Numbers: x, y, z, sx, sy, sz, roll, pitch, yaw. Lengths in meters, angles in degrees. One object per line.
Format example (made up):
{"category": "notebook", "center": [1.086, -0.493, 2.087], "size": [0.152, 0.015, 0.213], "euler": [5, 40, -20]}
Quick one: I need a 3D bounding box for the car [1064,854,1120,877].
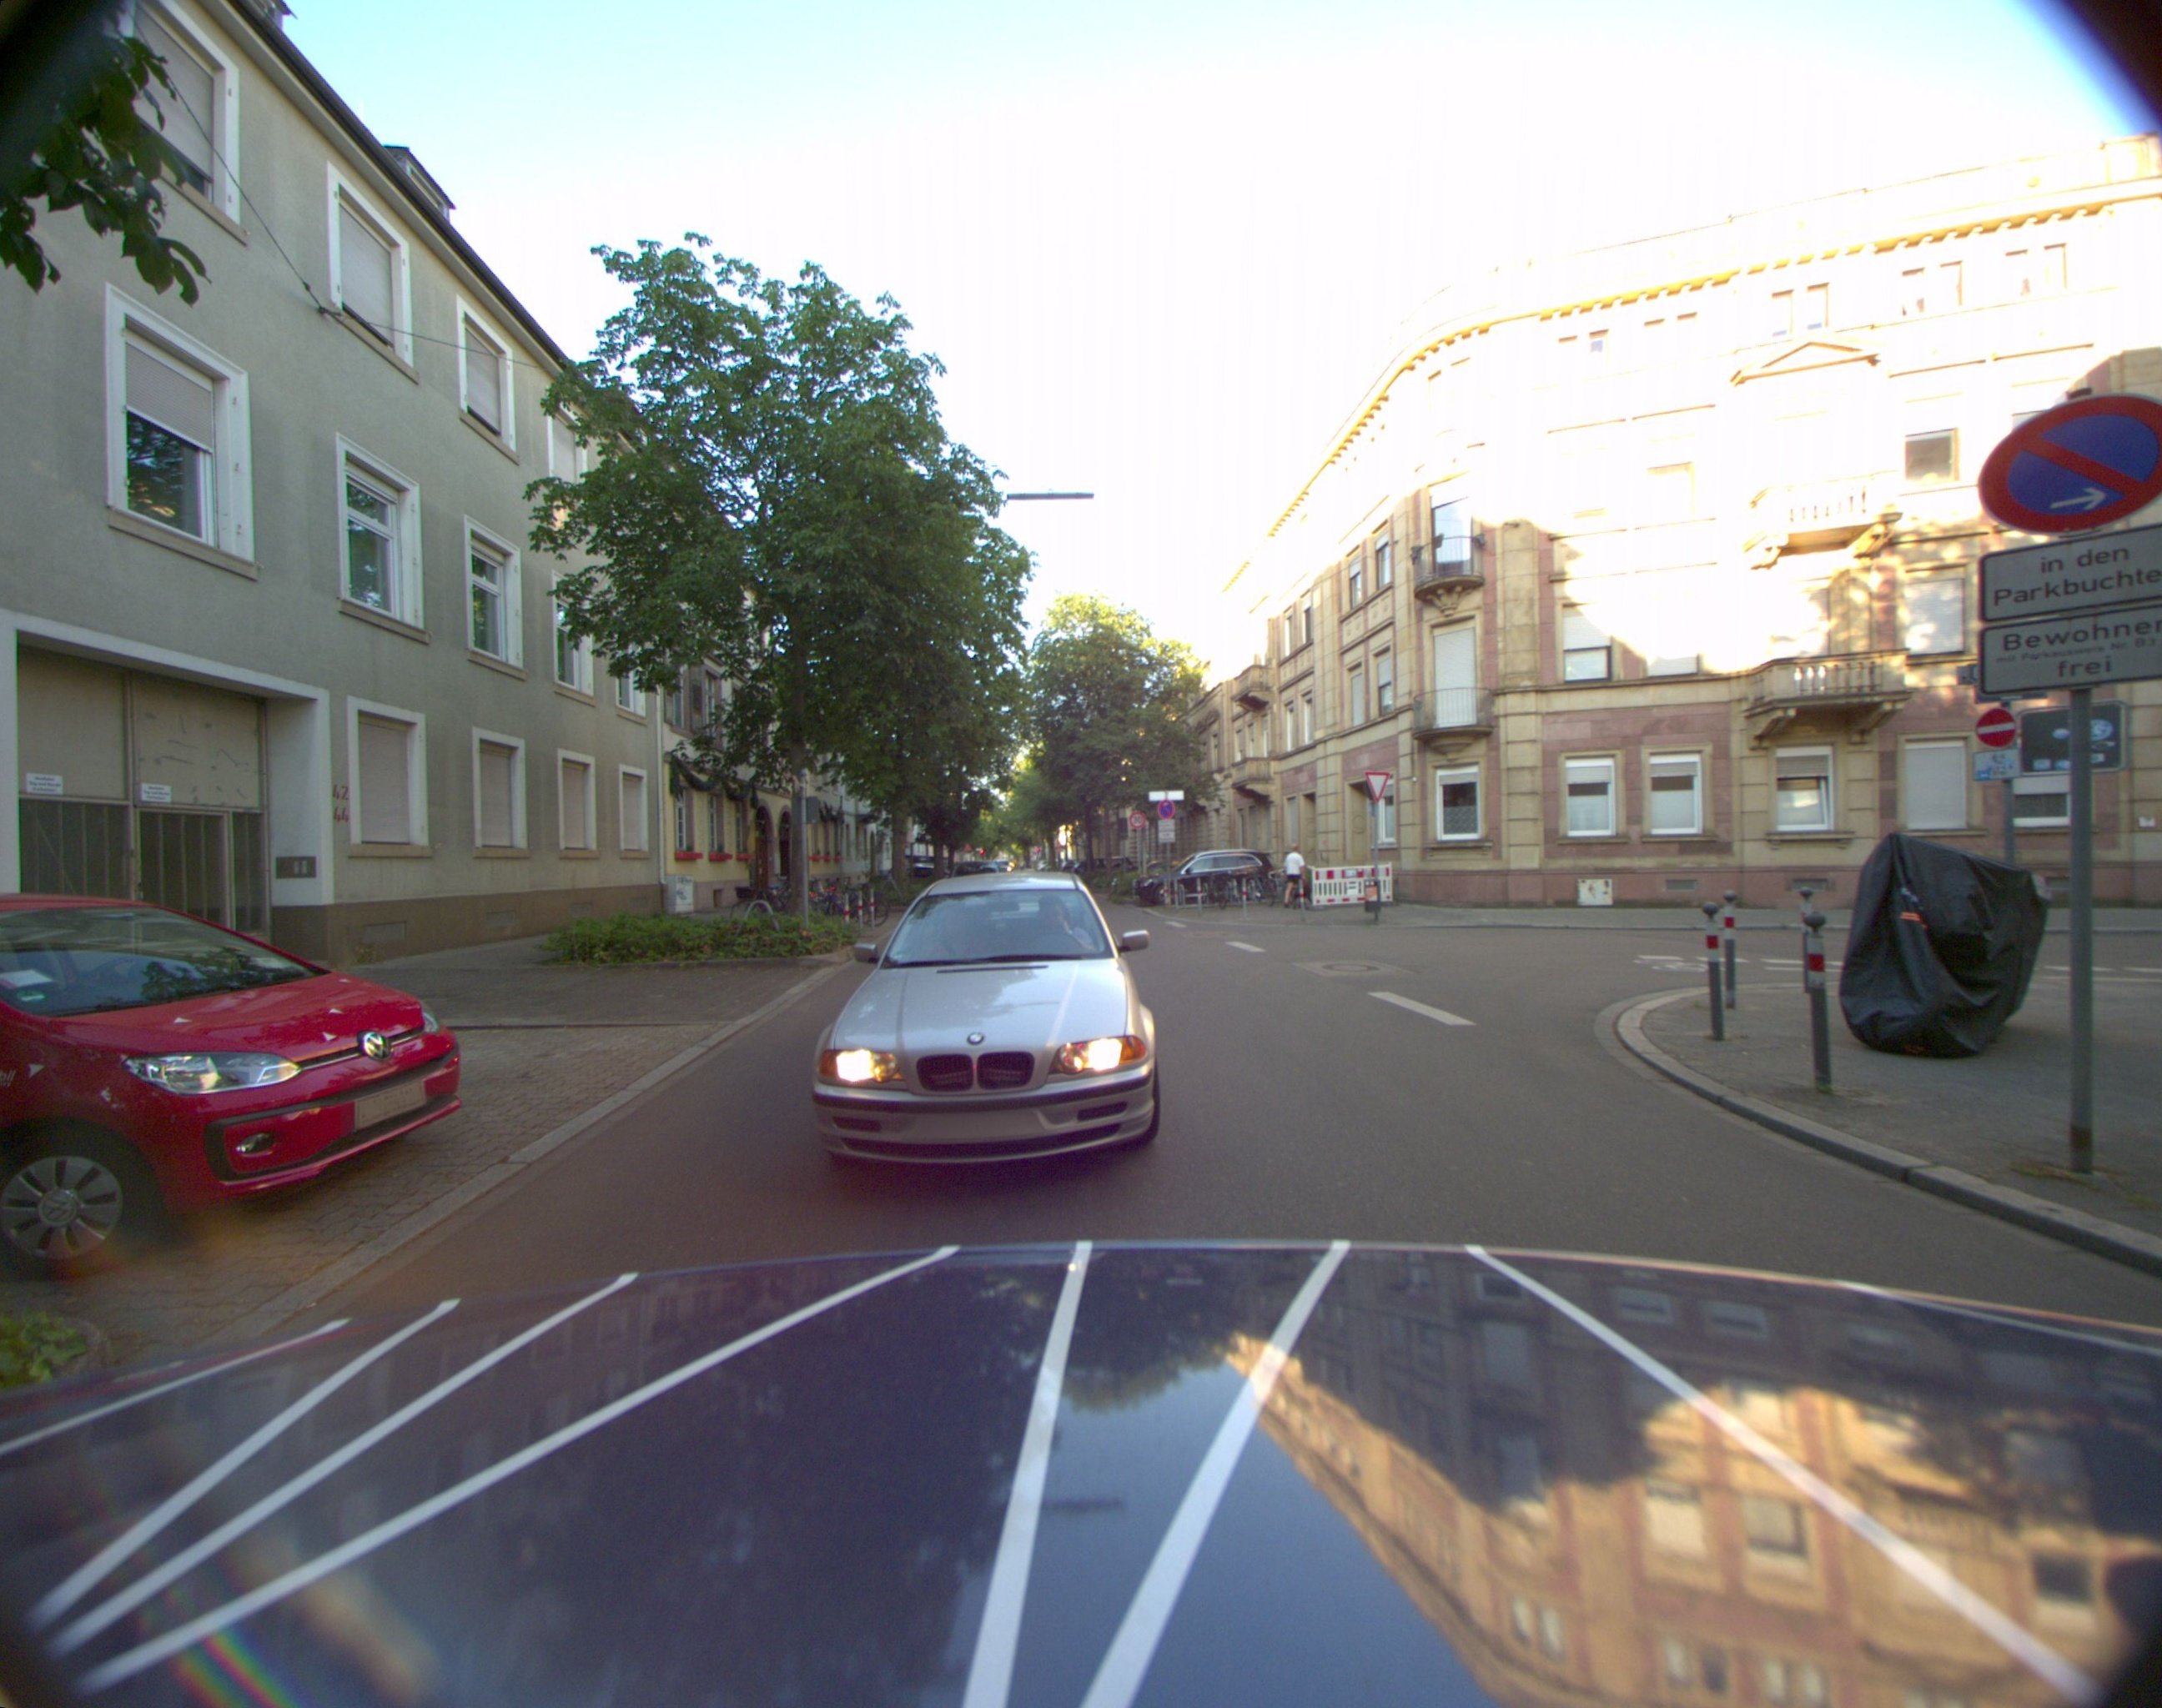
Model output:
{"category": "car", "center": [0.858, 0.875, 60.850], "size": [4.245, 1.749, 1.741], "euler": [-1, 0, -5]}

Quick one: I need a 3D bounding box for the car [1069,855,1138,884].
{"category": "car", "center": [1.405, 0.964, 48.380], "size": [4.245, 1.749, 1.741], "euler": [-1, 0, -5]}

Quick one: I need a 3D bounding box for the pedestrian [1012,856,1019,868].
{"category": "pedestrian", "center": [-11.117, 1.395, 128.888], "size": [1.185, 2.002, 1.020], "euler": [-1, 1, -9]}

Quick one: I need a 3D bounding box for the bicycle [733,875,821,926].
{"category": "bicycle", "center": [-7.816, 1.182, 19.596], "size": [2.029, 1.220, 0.535], "euler": [-1, 0, -13]}

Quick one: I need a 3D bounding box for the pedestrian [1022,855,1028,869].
{"category": "pedestrian", "center": [-7.967, 1.139, 108.465], "size": [0.712, 1.843, 0.676], "euler": [-1, 1, -13]}

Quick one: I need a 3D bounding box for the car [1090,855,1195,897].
{"category": "car", "center": [2.528, 0.906, 32.087], "size": [4.243, 1.668, 1.742], "euler": [-1, 0, -1]}

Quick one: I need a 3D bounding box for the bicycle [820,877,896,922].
{"category": "bicycle", "center": [-6.370, 1.287, 21.788], "size": [2.029, 1.220, 0.535], "euler": [-1, 0, -11]}

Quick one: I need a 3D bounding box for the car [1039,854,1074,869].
{"category": "car", "center": [-3.015, 0.888, 92.535], "size": [4.245, 1.749, 1.741], "euler": [-1, 0, -5]}

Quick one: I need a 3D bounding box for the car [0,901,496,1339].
{"category": "car", "center": [-5.164, 1.043, 3.425], "size": [3.621, 1.468, 1.663], "euler": [-1, 0, -7]}

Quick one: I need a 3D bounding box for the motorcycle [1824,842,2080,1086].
{"category": "motorcycle", "center": [6.497, 0.680, 5.637], "size": [2.286, 1.496, 0.816], "euler": [-1, 1, -30]}

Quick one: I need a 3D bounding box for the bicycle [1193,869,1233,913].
{"category": "bicycle", "center": [3.743, 1.029, 21.660], "size": [0.562, 1.144, 2.038], "euler": [-1, 0, -6]}

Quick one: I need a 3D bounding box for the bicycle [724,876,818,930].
{"category": "bicycle", "center": [-7.494, 1.182, 18.450], "size": [2.030, 1.220, 0.535], "euler": [-1, 0, -16]}

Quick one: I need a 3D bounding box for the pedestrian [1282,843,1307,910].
{"category": "pedestrian", "center": [5.803, 0.599, 20.661], "size": [0.572, 1.797, 0.652], "euler": [-1, 1, 10]}

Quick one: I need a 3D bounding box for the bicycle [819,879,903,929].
{"category": "bicycle", "center": [-5.661, 1.284, 19.637], "size": [2.029, 1.220, 0.535], "euler": [-1, 0, -11]}

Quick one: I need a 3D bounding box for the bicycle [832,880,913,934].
{"category": "bicycle", "center": [-5.038, 1.258, 18.397], "size": [1.849, 1.220, 0.535], "euler": [-1, 0, -16]}

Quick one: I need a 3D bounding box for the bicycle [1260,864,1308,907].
{"category": "bicycle", "center": [5.793, 0.884, 21.819], "size": [0.562, 1.144, 2.038], "euler": [-1, 0, -8]}

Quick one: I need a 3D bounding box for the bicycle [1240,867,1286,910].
{"category": "bicycle", "center": [5.175, 0.963, 21.770], "size": [0.562, 1.144, 2.038], "euler": [-1, 0, -8]}

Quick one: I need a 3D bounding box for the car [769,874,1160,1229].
{"category": "car", "center": [-0.489, 0.942, 5.605], "size": [1.711, 1.433, 4.436], "euler": [-1, 0, 1]}

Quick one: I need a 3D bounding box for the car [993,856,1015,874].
{"category": "car", "center": [-7.057, 0.978, 69.859], "size": [1.806, 1.543, 3.998], "euler": [-1, 0, -4]}

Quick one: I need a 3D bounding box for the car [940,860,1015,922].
{"category": "car", "center": [-2.852, 0.988, 21.744], "size": [1.806, 1.543, 3.998], "euler": [-1, 0, -4]}

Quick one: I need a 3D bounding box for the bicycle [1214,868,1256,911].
{"category": "bicycle", "center": [4.382, 0.986, 21.728], "size": [0.562, 1.144, 2.038], "euler": [-1, 0, -6]}

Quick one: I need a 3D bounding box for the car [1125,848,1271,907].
{"category": "car", "center": [3.723, 0.732, 24.657], "size": [4.423, 1.771, 1.741], "euler": [-1, 0, -2]}

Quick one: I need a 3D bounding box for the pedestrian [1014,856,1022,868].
{"category": "pedestrian", "center": [-10.946, 1.355, 132.050], "size": [1.254, 2.002, 1.123], "euler": [-1, 1, -9]}

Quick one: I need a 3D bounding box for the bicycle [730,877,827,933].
{"category": "bicycle", "center": [-7.034, 1.173, 17.747], "size": [2.030, 1.220, 0.535], "euler": [-1, 0, -16]}

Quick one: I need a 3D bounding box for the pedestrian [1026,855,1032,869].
{"category": "pedestrian", "center": [-7.378, 1.135, 107.771], "size": [0.712, 1.843, 0.676], "euler": [-1, 1, -13]}

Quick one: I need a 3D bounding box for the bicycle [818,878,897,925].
{"category": "bicycle", "center": [-6.128, 1.288, 20.918], "size": [2.029, 1.220, 0.535], "euler": [-1, 0, -11]}

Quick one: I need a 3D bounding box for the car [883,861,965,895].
{"category": "car", "center": [-8.558, 1.279, 41.668], "size": [4.245, 1.729, 1.741], "euler": [-1, 0, -6]}
